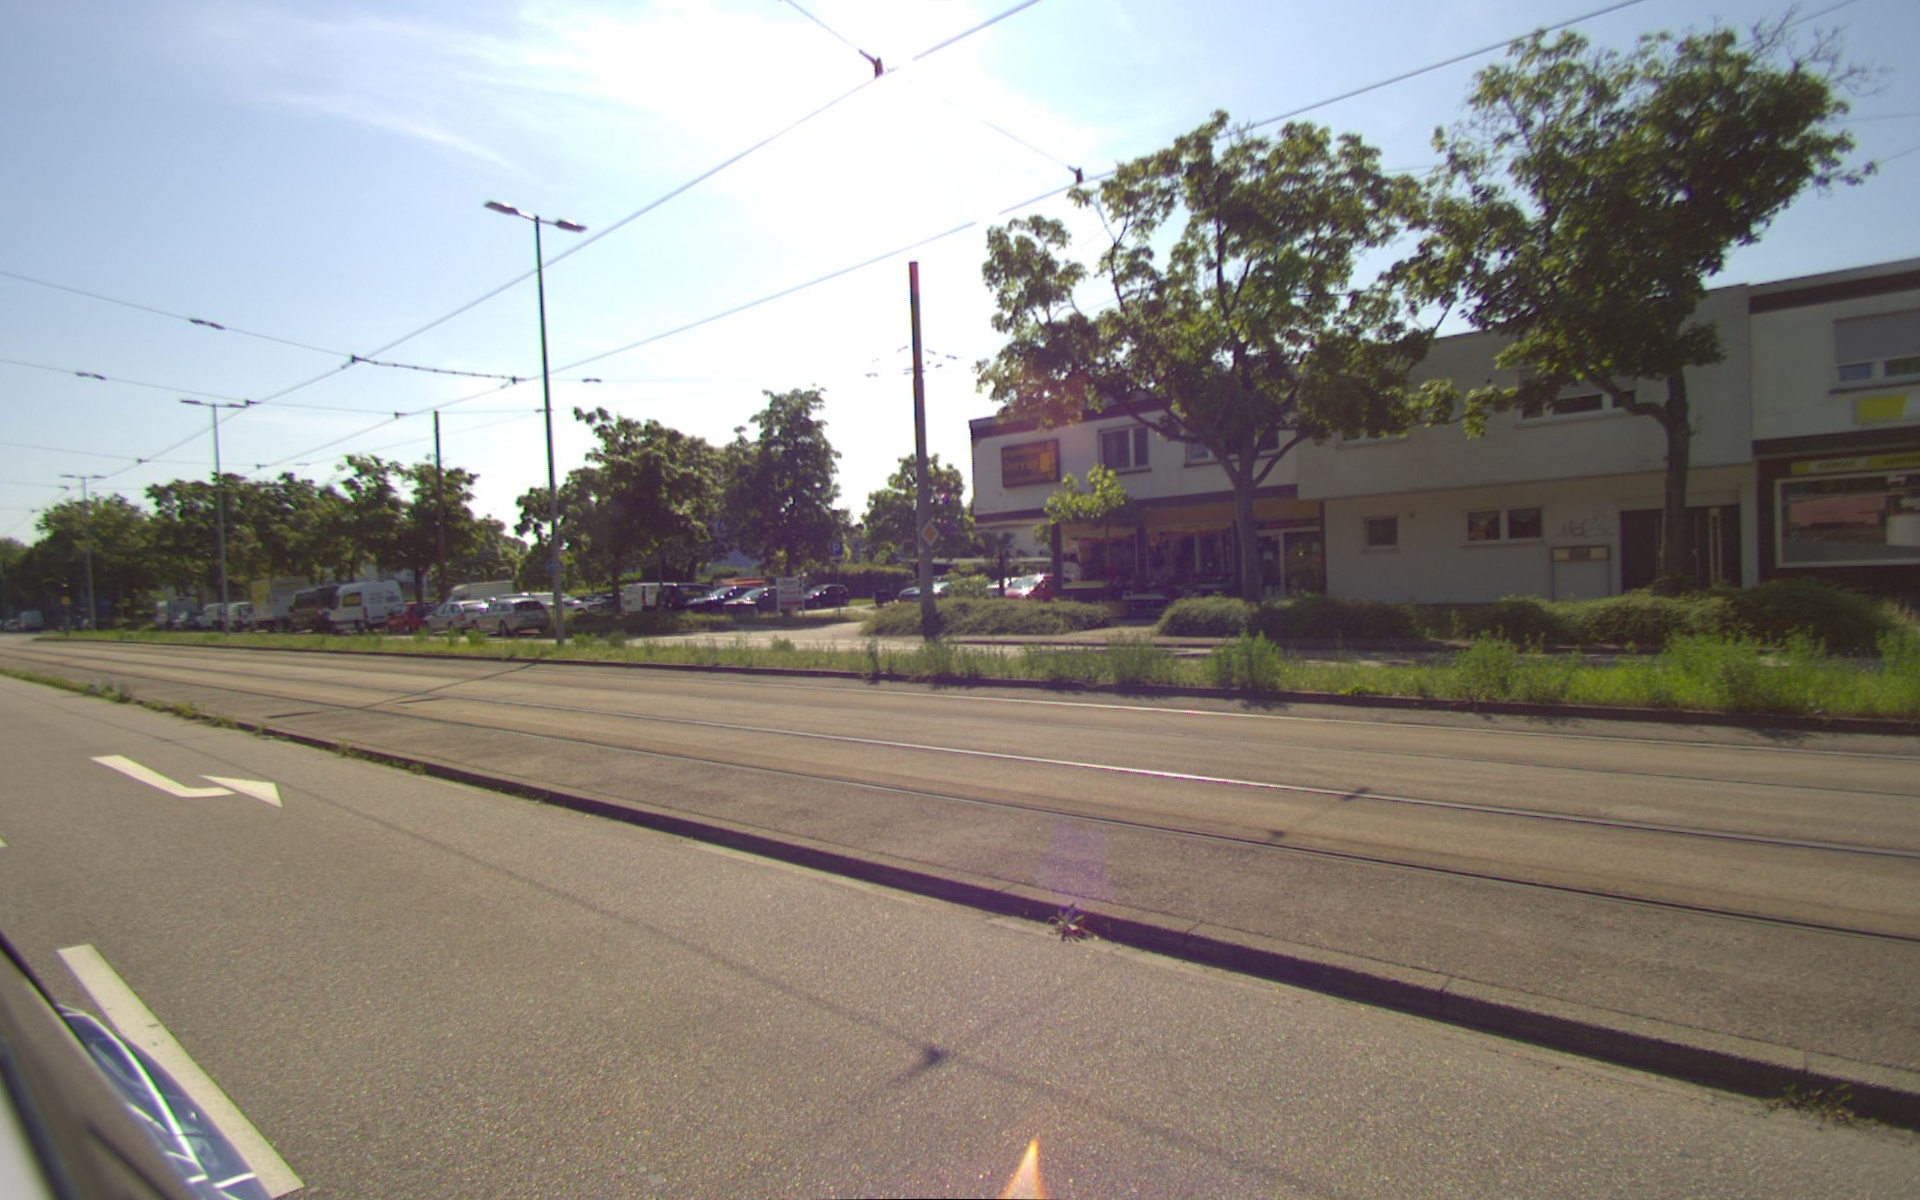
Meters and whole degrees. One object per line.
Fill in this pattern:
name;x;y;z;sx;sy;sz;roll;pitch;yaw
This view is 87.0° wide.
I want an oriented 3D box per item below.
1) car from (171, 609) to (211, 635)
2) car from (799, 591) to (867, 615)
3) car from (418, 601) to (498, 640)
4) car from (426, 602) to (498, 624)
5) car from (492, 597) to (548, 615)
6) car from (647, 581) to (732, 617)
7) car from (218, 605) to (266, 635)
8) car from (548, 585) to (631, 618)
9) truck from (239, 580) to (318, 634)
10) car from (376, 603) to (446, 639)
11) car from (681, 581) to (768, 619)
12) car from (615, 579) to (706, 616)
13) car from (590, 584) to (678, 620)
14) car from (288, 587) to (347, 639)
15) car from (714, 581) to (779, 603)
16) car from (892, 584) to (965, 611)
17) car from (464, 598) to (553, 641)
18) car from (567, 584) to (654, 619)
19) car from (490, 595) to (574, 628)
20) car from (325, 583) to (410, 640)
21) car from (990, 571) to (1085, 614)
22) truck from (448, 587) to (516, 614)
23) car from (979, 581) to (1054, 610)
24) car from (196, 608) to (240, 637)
car;-57.645;1.665;75.870;3.685;1.799;1.484;-2;4;40
car;-8.038;0.167;64.285;1.676;1.345;4.197;-2;1;43
car;-22.500;0.930;45.296;4.255;1.544;1.654;-2;4;42
car;-35.324;0.898;71.861;1.676;1.345;4.198;-2;1;42
car;-39.134;0.514;90.075;1.676;1.345;4.198;-2;1;42
car;-13.542;-0.079;50.790;1.676;1.646;3.761;-2;1;43
car;-47.966;1.362;67.552;4.631;1.817;1.483;-2;4;42
car;-21.334;0.070;58.376;1.988;1.751;4.068;-2;1;38
truck;-41.712;0.434;61.878;5.902;2.955;2.476;-2;4;42
car;-26.346;1.017;48.553;3.791;1.544;1.654;-2;4;42
car;-11.304;-0.012;48.773;1.676;1.646;3.761;-2;1;43
car;-15.521;-0.136;52.589;1.988;1.751;4.068;-2;1;38
car;-17.361;0.087;54.031;1.988;1.751;4.068;-2;1;38
car;-35.441;0.720;55.766;4.005;2.643;1.483;-2;4;42
car;-14.542;-0.574;69.127;1.675;1.345;4.201;-2;1;39
car;-1.745;-0.135;57.140;1.676;1.345;4.197;-2;1;43
car;-18.670;0.826;41.797;4.255;1.544;1.654;-2;4;42
car;-19.223;0.078;55.711;1.988;1.751;4.068;-2;1;38
car;-26.587;0.730;62.815;5.739;1.824;2.560;-2;1;42
car;-30.422;0.607;51.909;5.201;2.673;2.036;-2;4;42
car;3.281;-0.326;42.327;1.676;1.616;4.197;-2;1;43
truck;-46.066;0.004;97.560;1.988;2.398;5.584;-2;1;38
car;3.029;-0.244;53.725;1.676;1.345;4.197;-2;1;43
car;-52.905;1.596;72.120;4.056;1.859;1.484;-2;4;40
